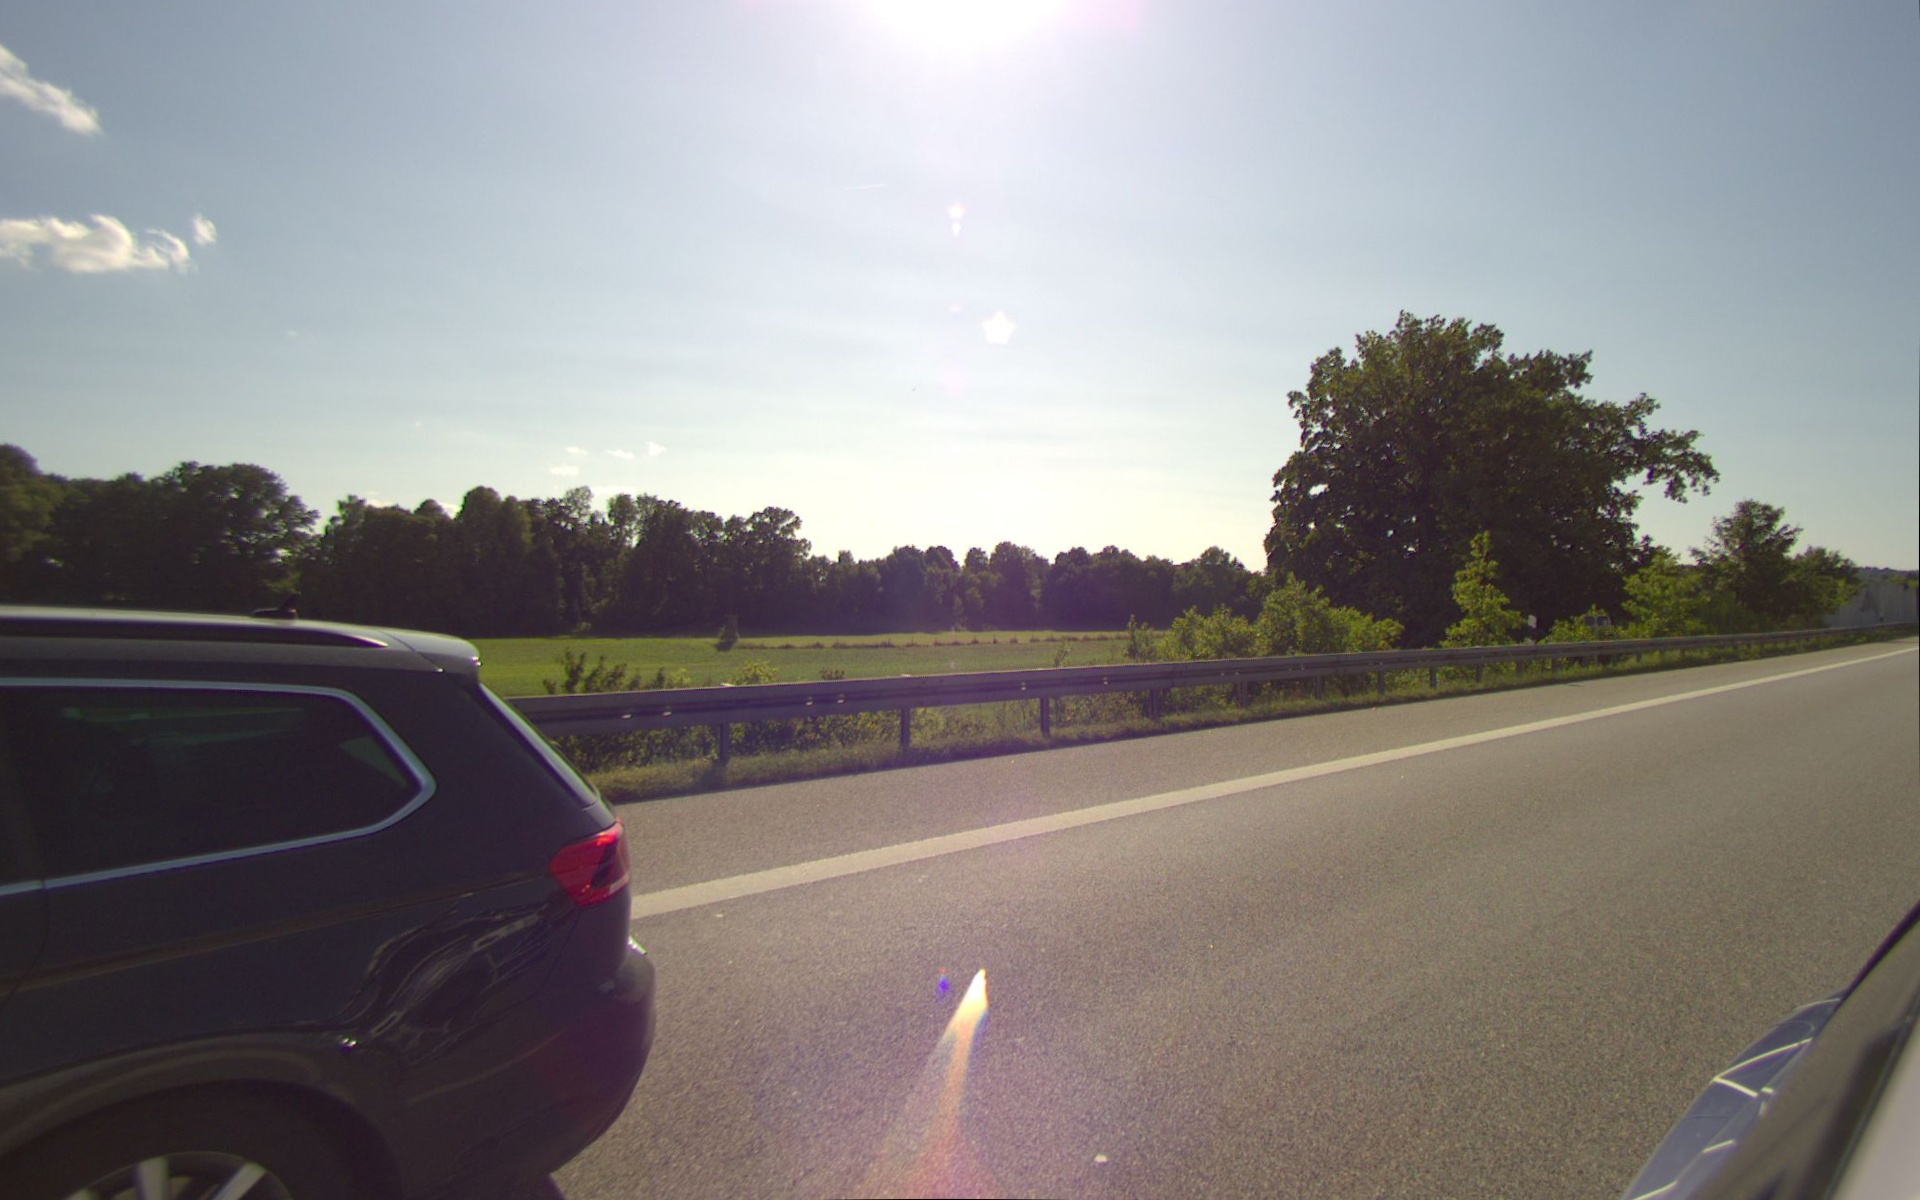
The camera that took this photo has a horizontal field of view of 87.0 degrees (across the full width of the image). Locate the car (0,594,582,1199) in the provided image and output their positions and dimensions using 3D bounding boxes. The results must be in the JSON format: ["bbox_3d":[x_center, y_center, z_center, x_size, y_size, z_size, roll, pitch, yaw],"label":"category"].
[{"bbox_3d":[-2.960,0.717,1.291,4.337,1.417,1.721,-1,1,-42],"label":"car"}]
